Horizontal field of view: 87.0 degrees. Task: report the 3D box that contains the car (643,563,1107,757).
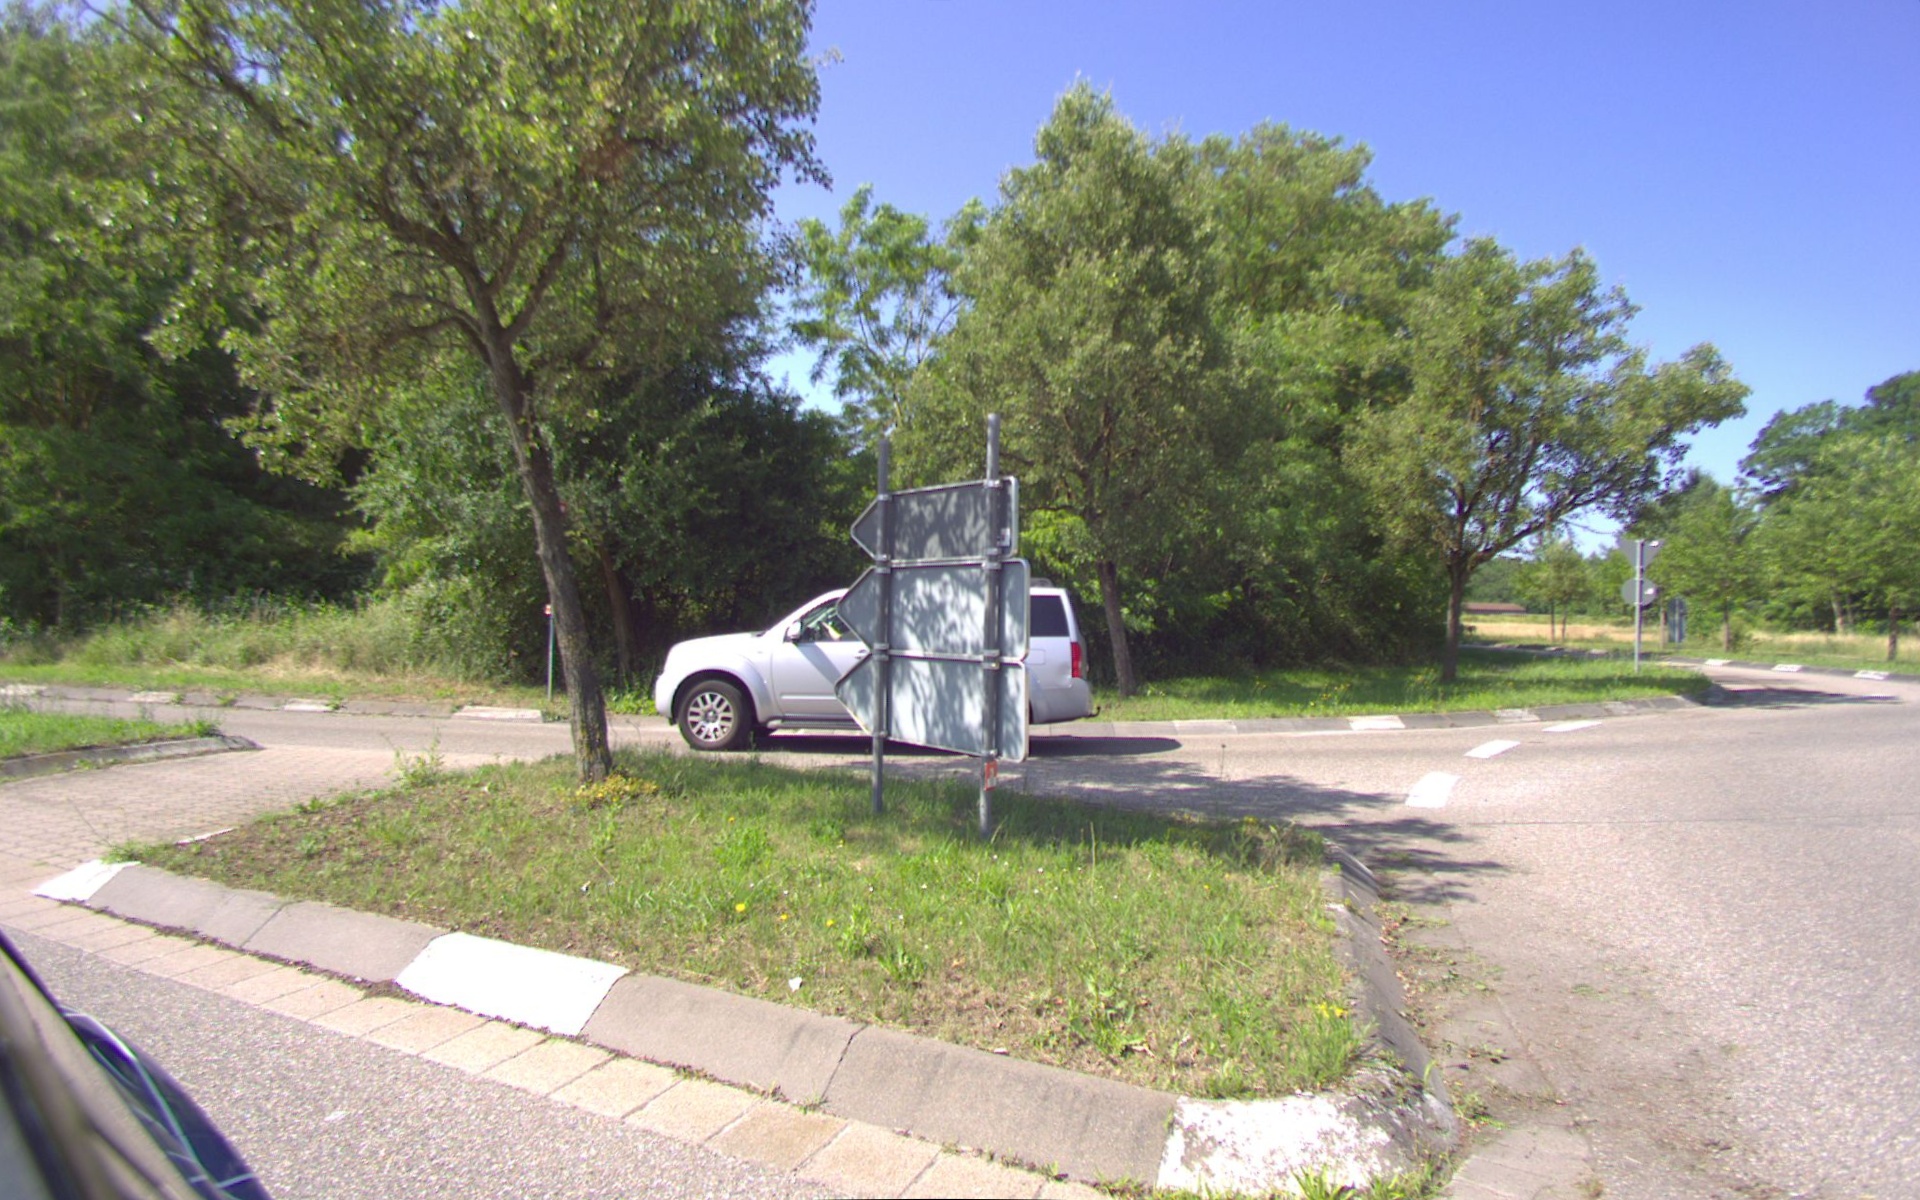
[{"bbox_3d":[-0.814,0.624,10.850,4.535,1.830,1.898,1,-3,3],"label":"car"}]
